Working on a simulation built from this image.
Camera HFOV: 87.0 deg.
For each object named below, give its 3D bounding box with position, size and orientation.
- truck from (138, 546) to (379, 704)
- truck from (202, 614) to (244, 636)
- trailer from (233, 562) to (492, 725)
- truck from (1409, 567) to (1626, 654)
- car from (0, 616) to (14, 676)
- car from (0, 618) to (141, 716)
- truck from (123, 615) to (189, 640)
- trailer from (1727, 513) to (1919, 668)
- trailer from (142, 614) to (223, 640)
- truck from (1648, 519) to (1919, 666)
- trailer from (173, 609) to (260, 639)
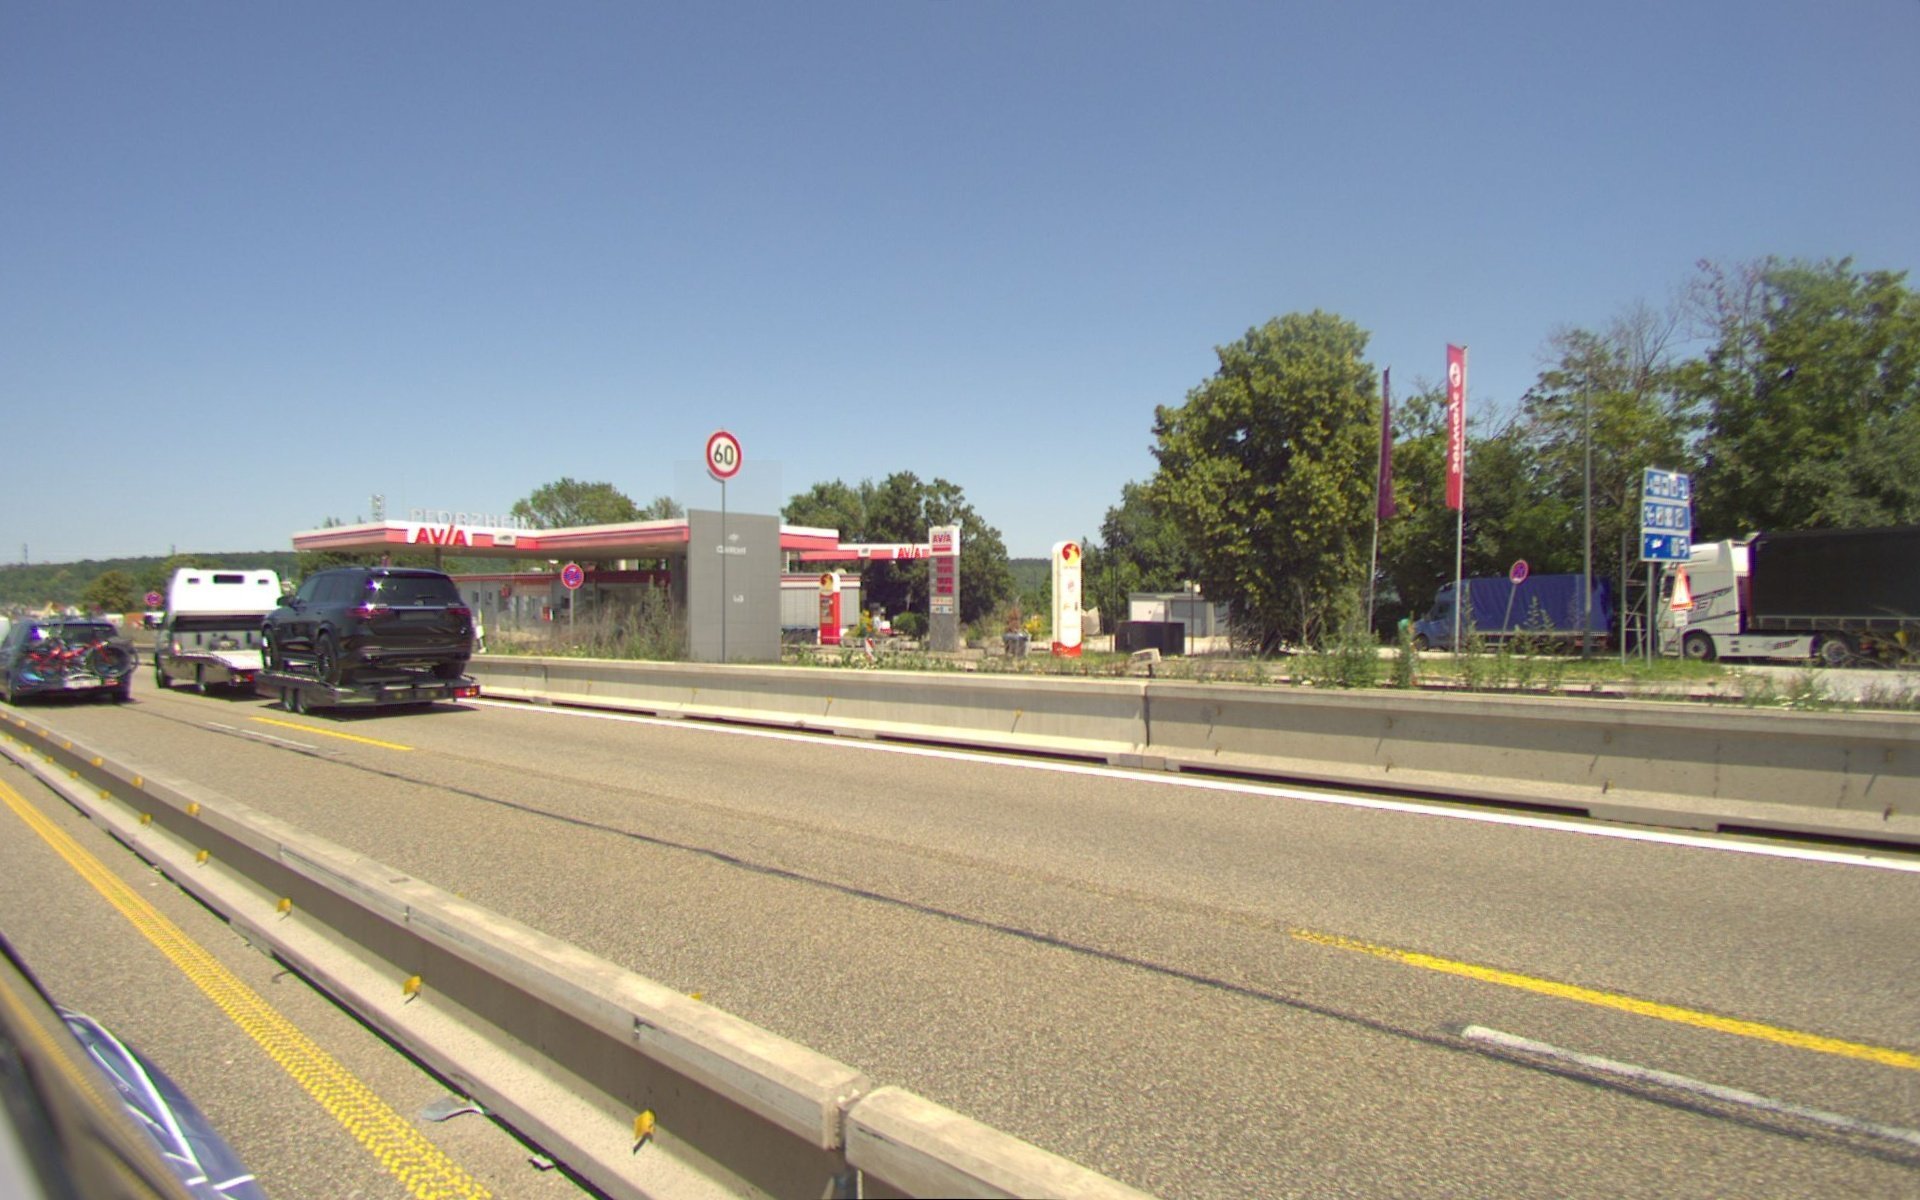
[{"bbox_3d":[-15.382,0.565,21.880,8.125,2.846,2.454,-2,-2,42],"label":"truck"},{"bbox_3d":[-138.574,4.706,190.263,5.648,3.644,2.585,-4,1,-8],"label":"truck"},{"bbox_3d":[-10.305,0.704,17.221,5.611,2.332,2.159,-2,-2,41],"label":"trailer"},{"bbox_3d":[21.774,0.449,40.047,2.779,3.087,7.144,0,-1,-27],"label":"truck"},{"bbox_3d":[-31.952,1.518,32.498,4.588,1.854,1.834,-3,-2,41],"label":"car"},{"bbox_3d":[-17.163,1.217,19.220,3.998,1.621,1.884,-3,-2,42],"label":"car"},{"bbox_3d":[-160.191,5.460,201.838,9.742,4.251,3.589,-4,1,-6],"label":"truck"},{"bbox_3d":[27.917,-0.294,25.342,3.105,4.142,14.210,0,-1,-22],"label":"trailer"},{"bbox_3d":[-145.594,5.058,189.637,12.561,3.812,2.624,-4,1,-4],"label":"trailer"},{"bbox_3d":[25.515,-0.140,31.232,3.105,4.015,6.367,0,-1,-22],"label":"truck"},{"bbox_3d":[-126.962,4.079,172.988,12.193,4.197,2.863,-4,1,-4],"label":"trailer"}]
